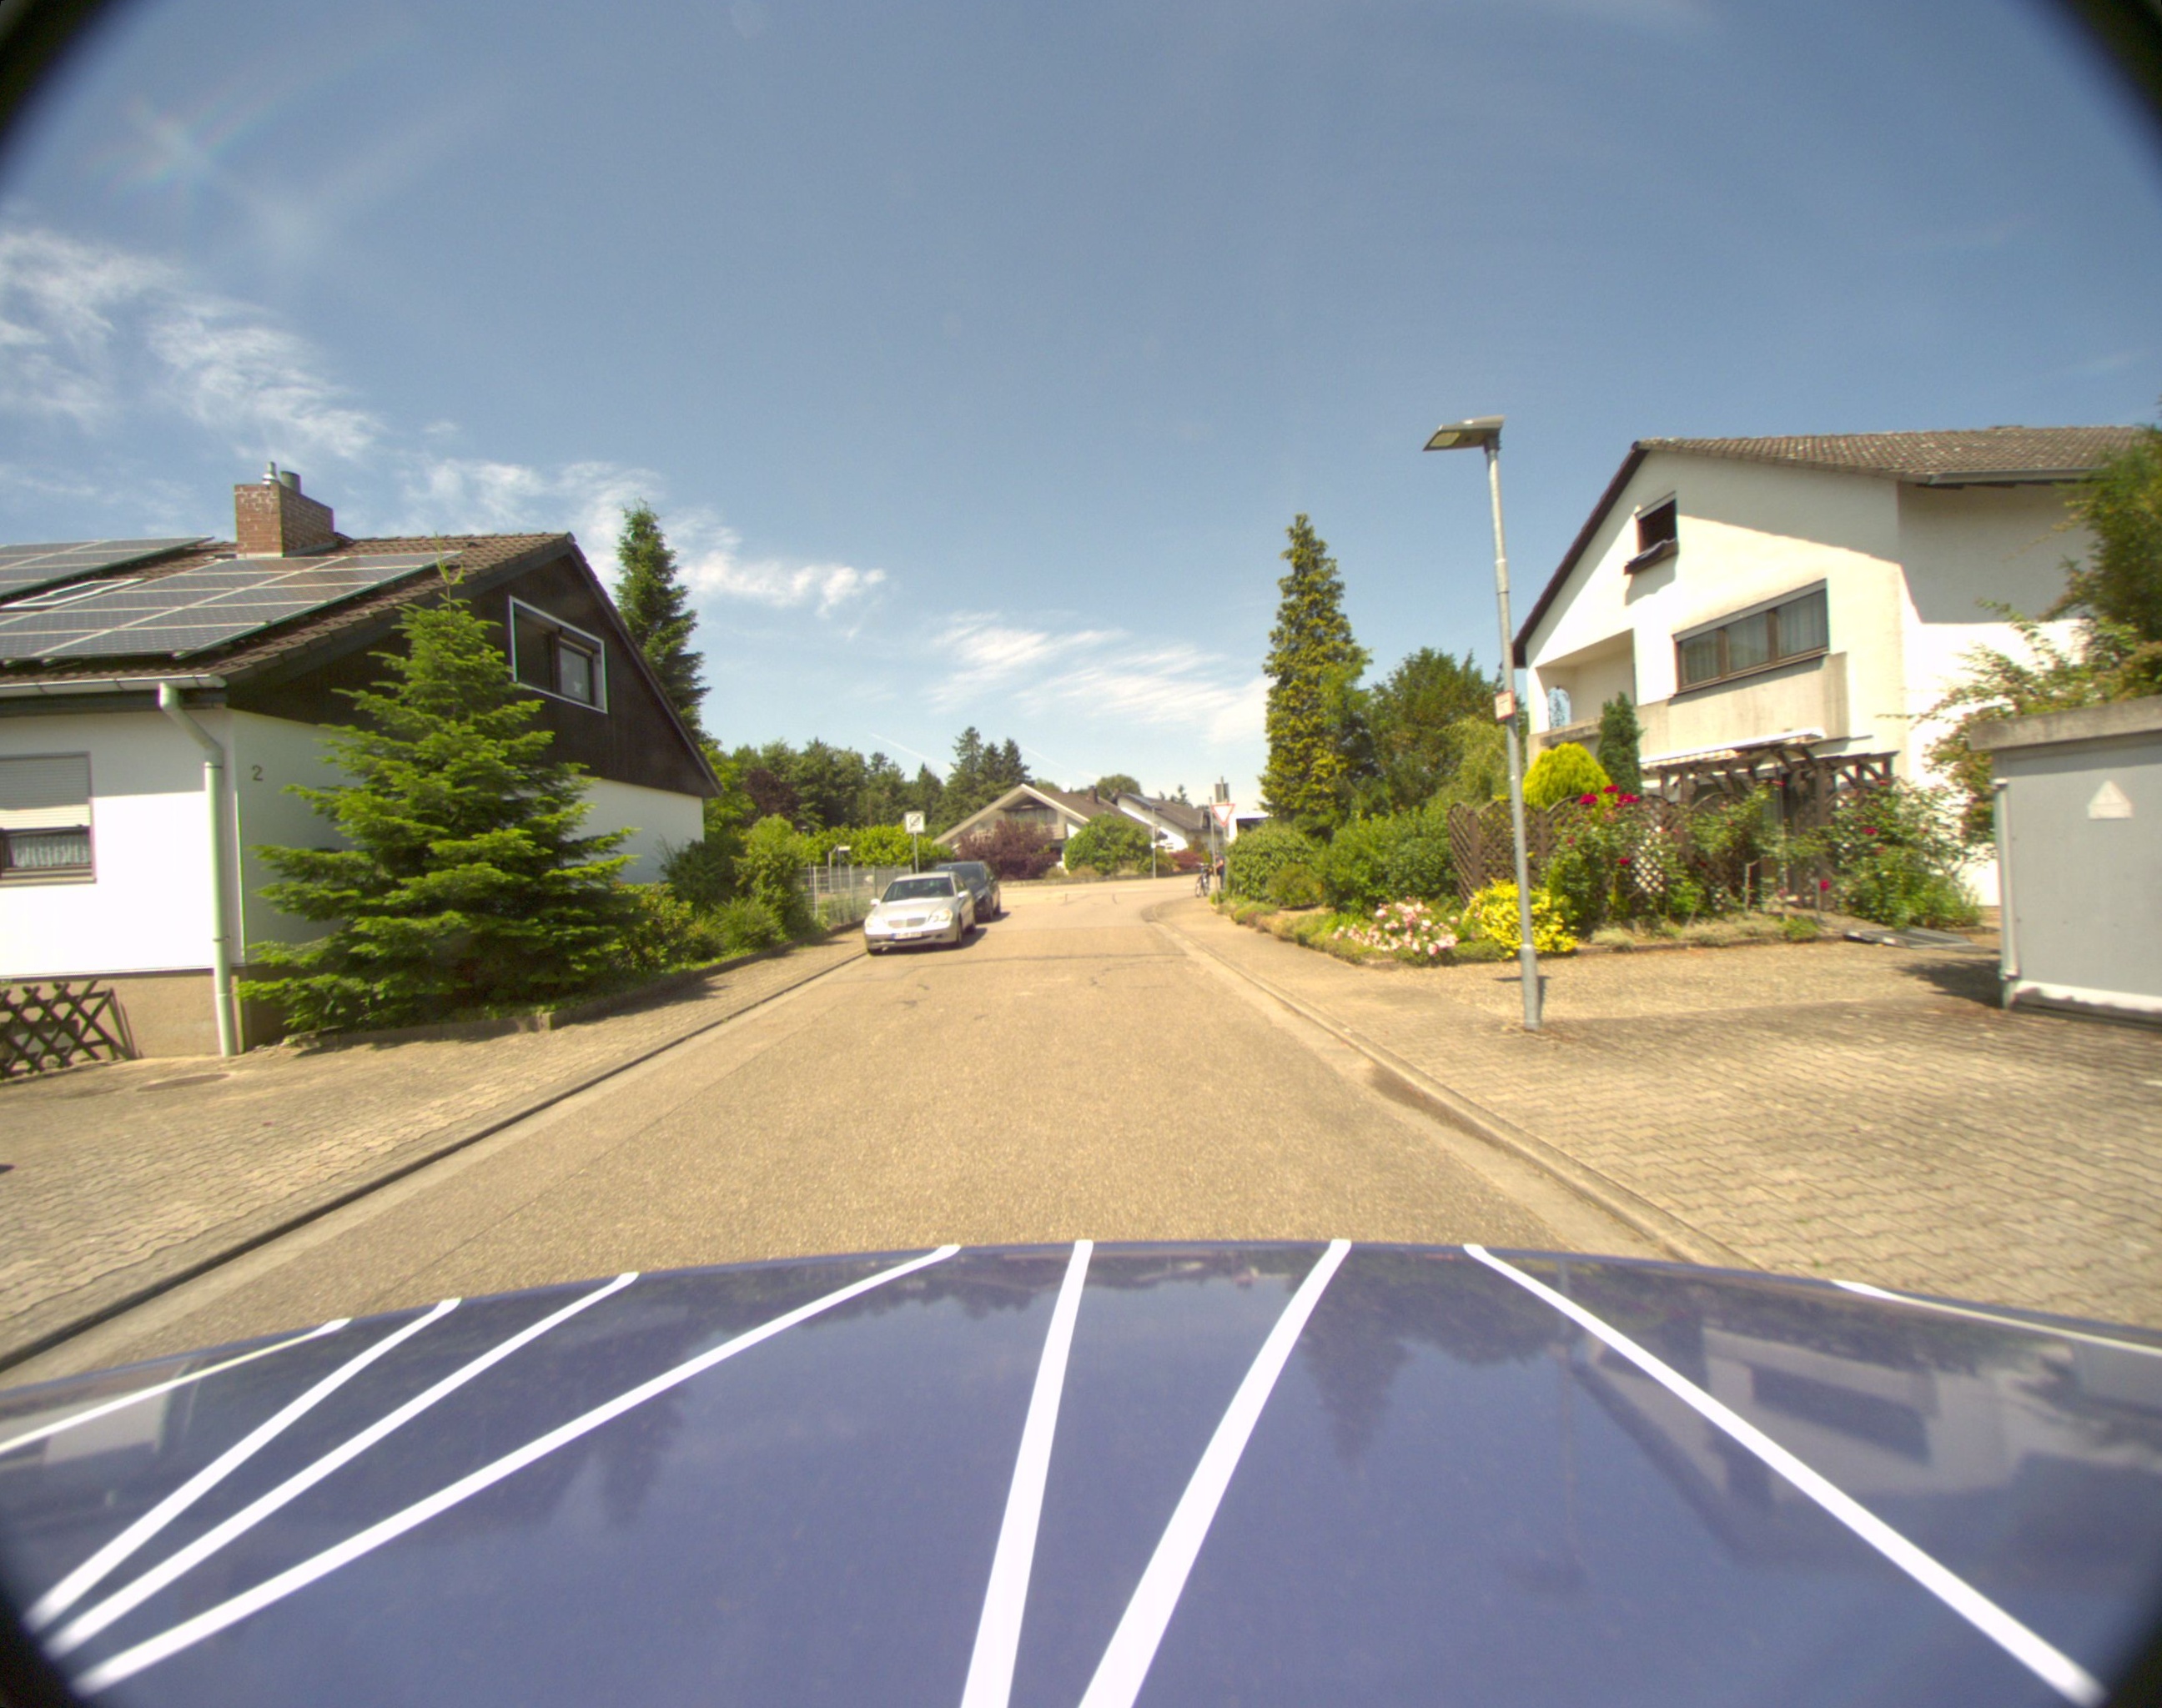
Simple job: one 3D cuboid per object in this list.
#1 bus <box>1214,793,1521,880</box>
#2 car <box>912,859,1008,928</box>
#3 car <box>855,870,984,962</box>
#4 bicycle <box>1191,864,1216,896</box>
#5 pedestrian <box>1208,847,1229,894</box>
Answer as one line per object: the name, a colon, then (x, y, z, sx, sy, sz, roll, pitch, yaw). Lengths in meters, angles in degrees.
bus: (12.679, -0.715, 34.973, 12.694, 3.225, 3.194, -3, 0, 9)
car: (-3.277, 1.009, 21.493, 1.968, 1.652, 4.682, -2, 0, -1)
car: (-3.115, 1.138, 15.516, 1.691, 1.451, 4.336, -2, 0, -1)
bicycle: (3.991, 0.831, 24.675, 0.442, 0.958, 1.851, -3, 0, 20)
pedestrian: (4.468, 0.535, 24.699, 0.503, 1.492, 0.613, -3, 0, 18)
